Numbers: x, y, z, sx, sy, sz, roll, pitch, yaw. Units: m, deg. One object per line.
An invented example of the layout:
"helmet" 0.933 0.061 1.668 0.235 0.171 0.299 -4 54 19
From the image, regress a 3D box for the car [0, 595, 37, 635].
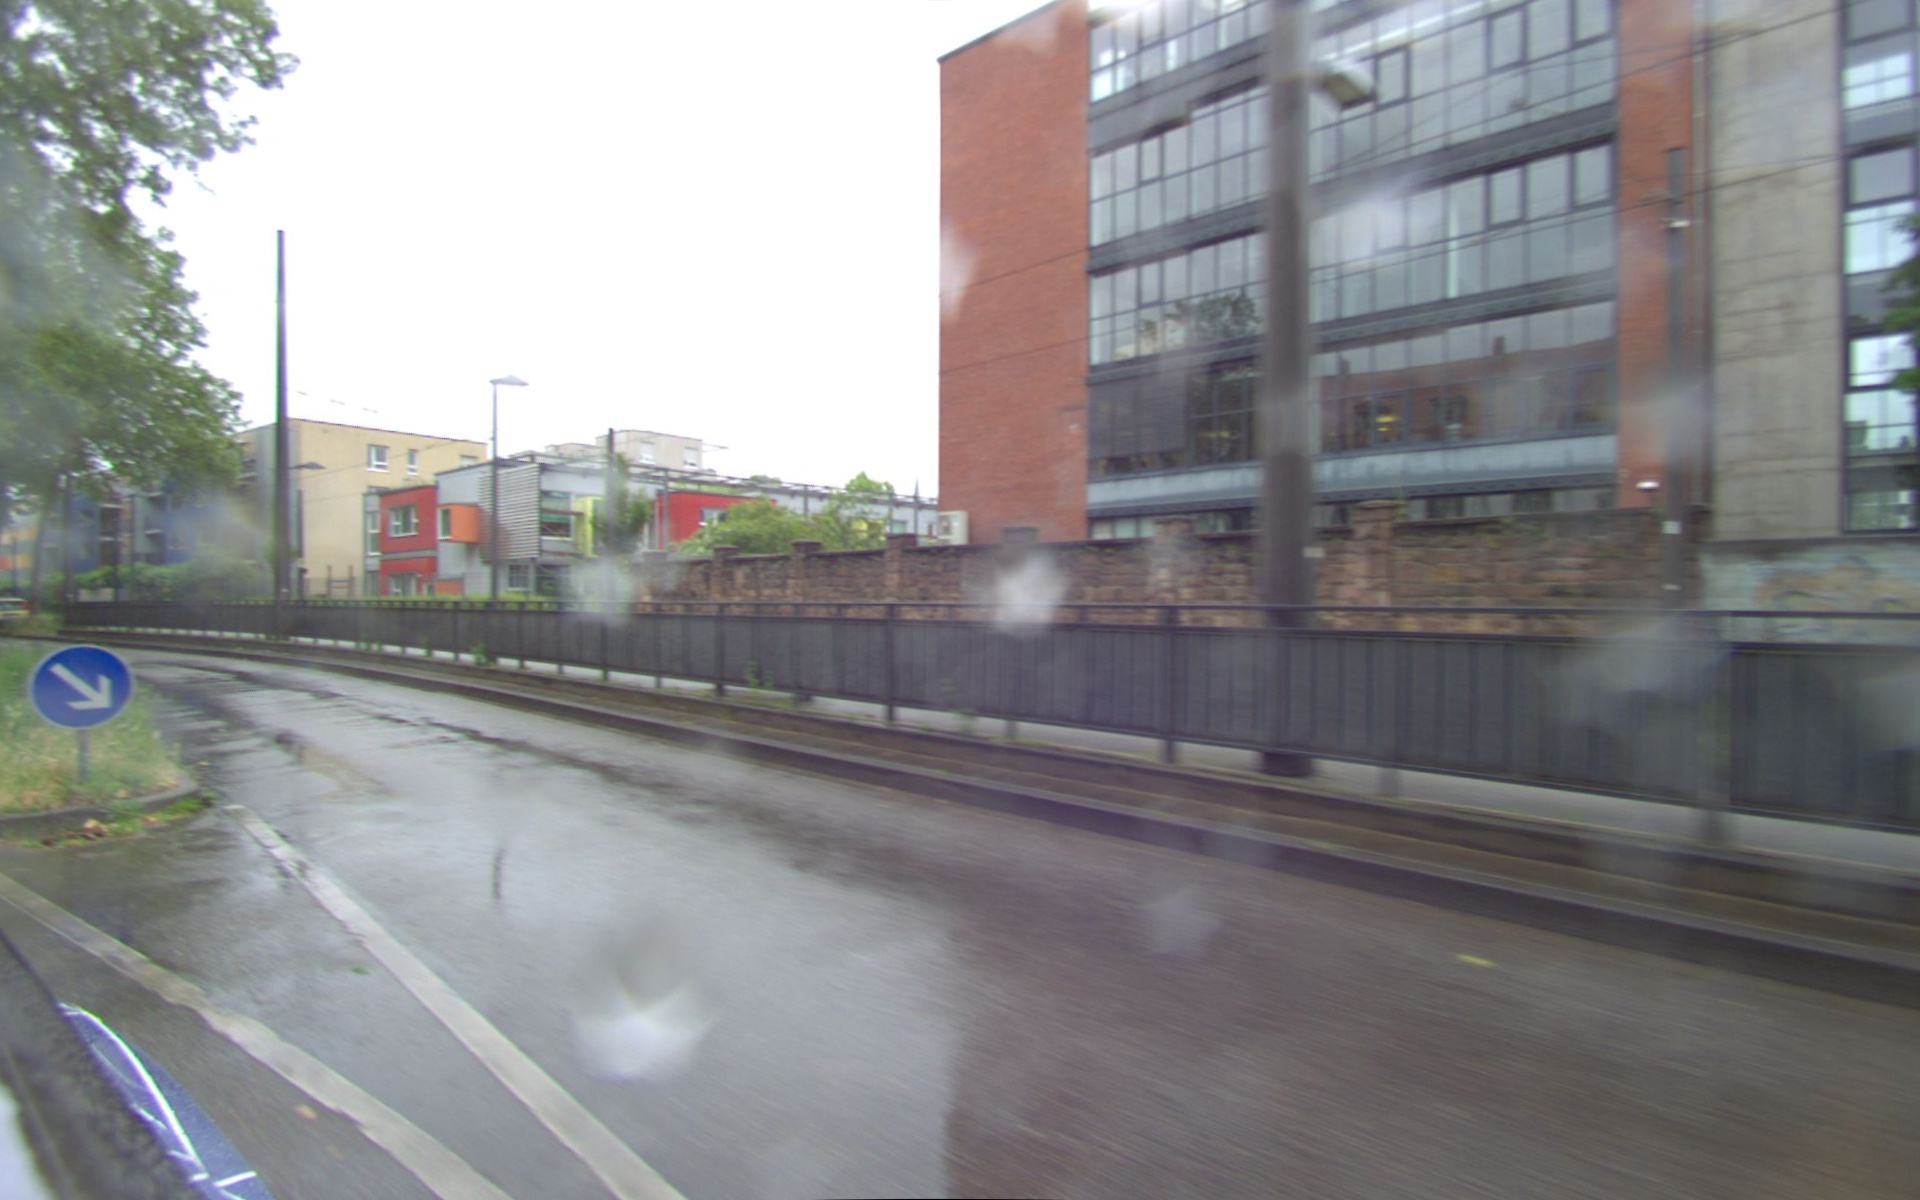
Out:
"car" -42.991 0.669 45.367 3.685 1.737 1.672 0 -2 36
